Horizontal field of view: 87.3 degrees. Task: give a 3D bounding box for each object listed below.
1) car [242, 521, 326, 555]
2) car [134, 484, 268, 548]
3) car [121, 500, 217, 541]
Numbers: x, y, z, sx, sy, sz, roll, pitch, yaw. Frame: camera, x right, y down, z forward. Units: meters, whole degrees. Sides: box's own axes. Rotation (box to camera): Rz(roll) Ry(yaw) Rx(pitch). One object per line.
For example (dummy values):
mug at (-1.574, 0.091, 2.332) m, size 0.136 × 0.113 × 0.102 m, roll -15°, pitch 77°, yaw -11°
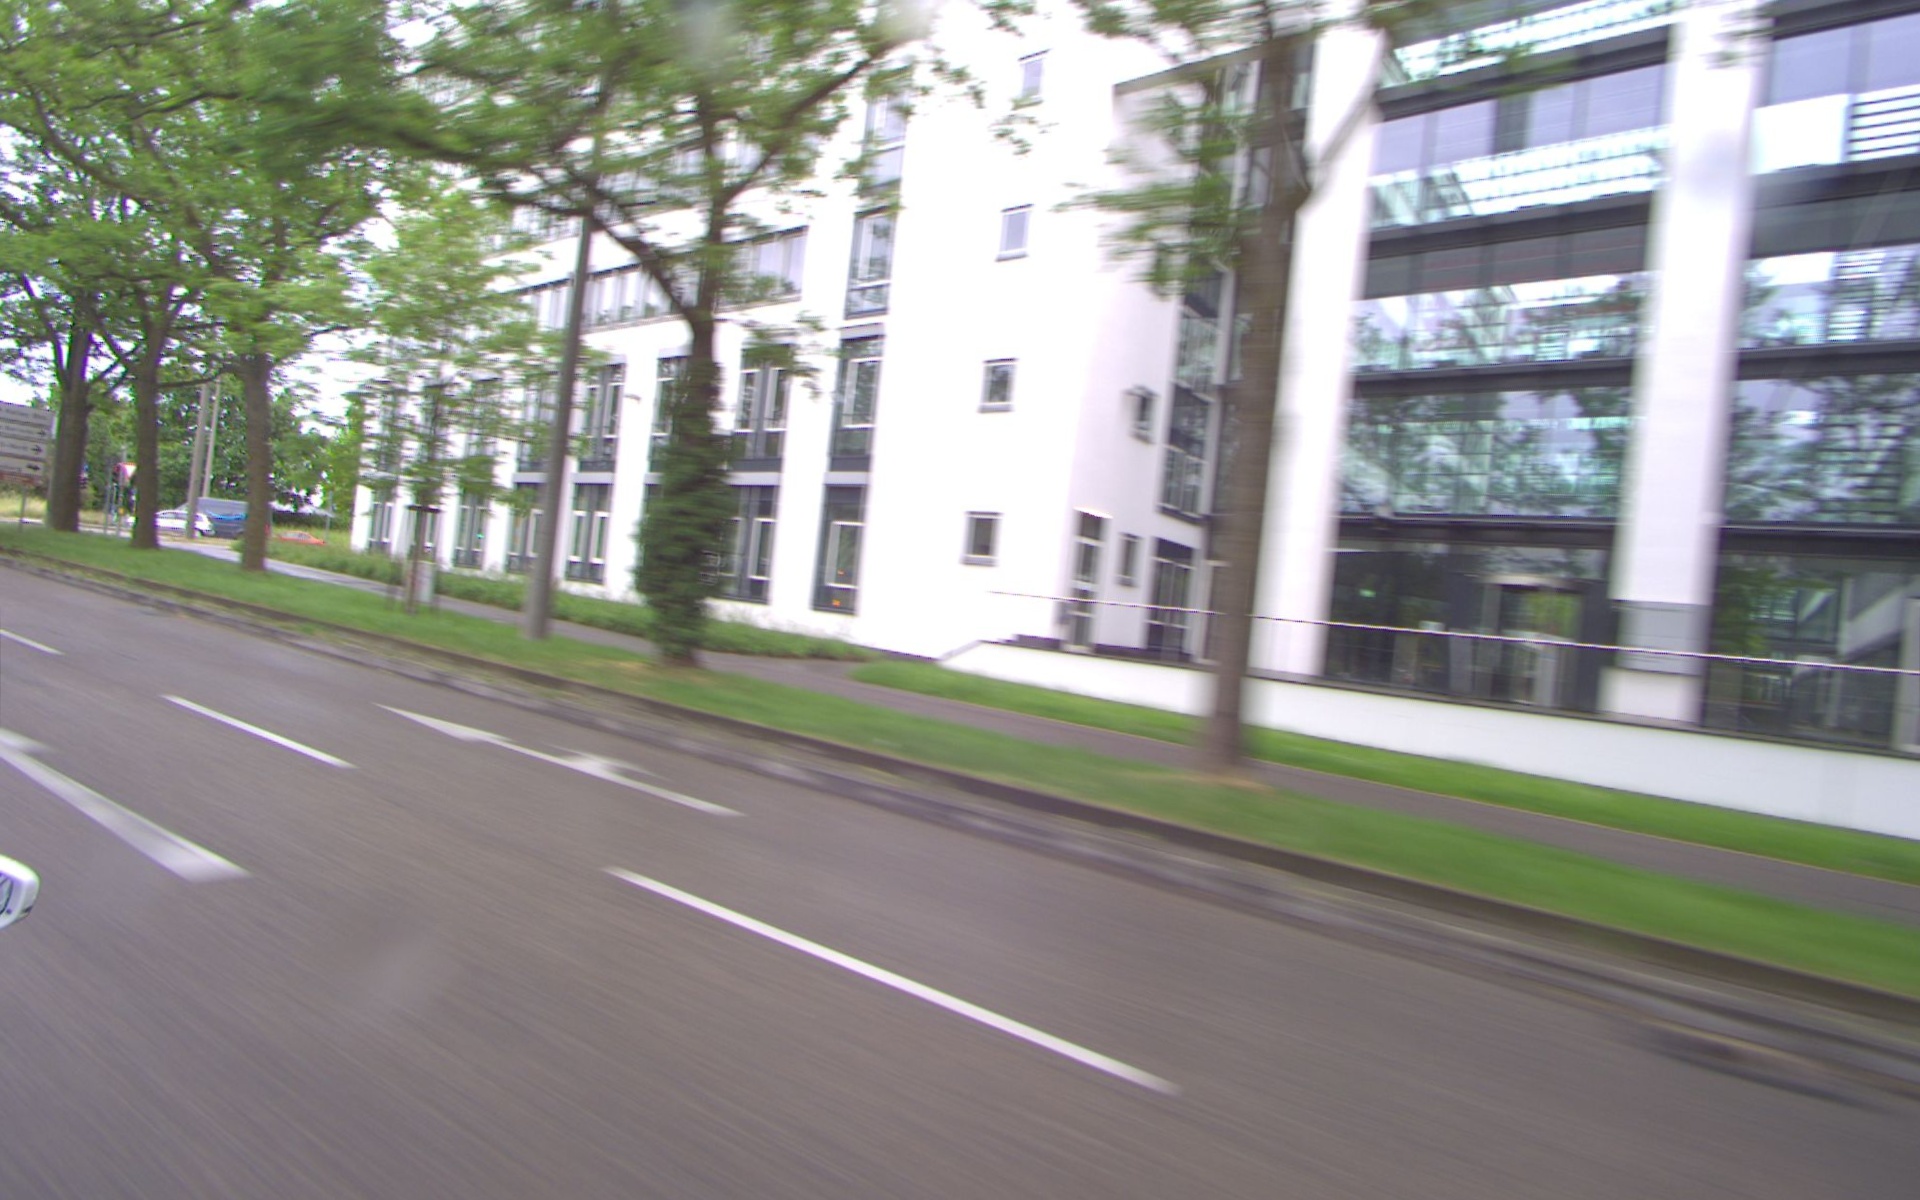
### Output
car at (-45.899, -4.192, 68.411) m, size 4.493 × 1.486 × 2.146 m, roll 10°, pitch -3°, yaw -31°
car at (-45.713, -5.008, 60.811) m, size 5.965 × 2.772 × 2.067 m, roll 8°, pitch -2°, yaw -30°
car at (-45.324, -4.507, 57.751) m, size 4.023 × 1.586 × 1.856 m, roll 8°, pitch -3°, yaw -33°
